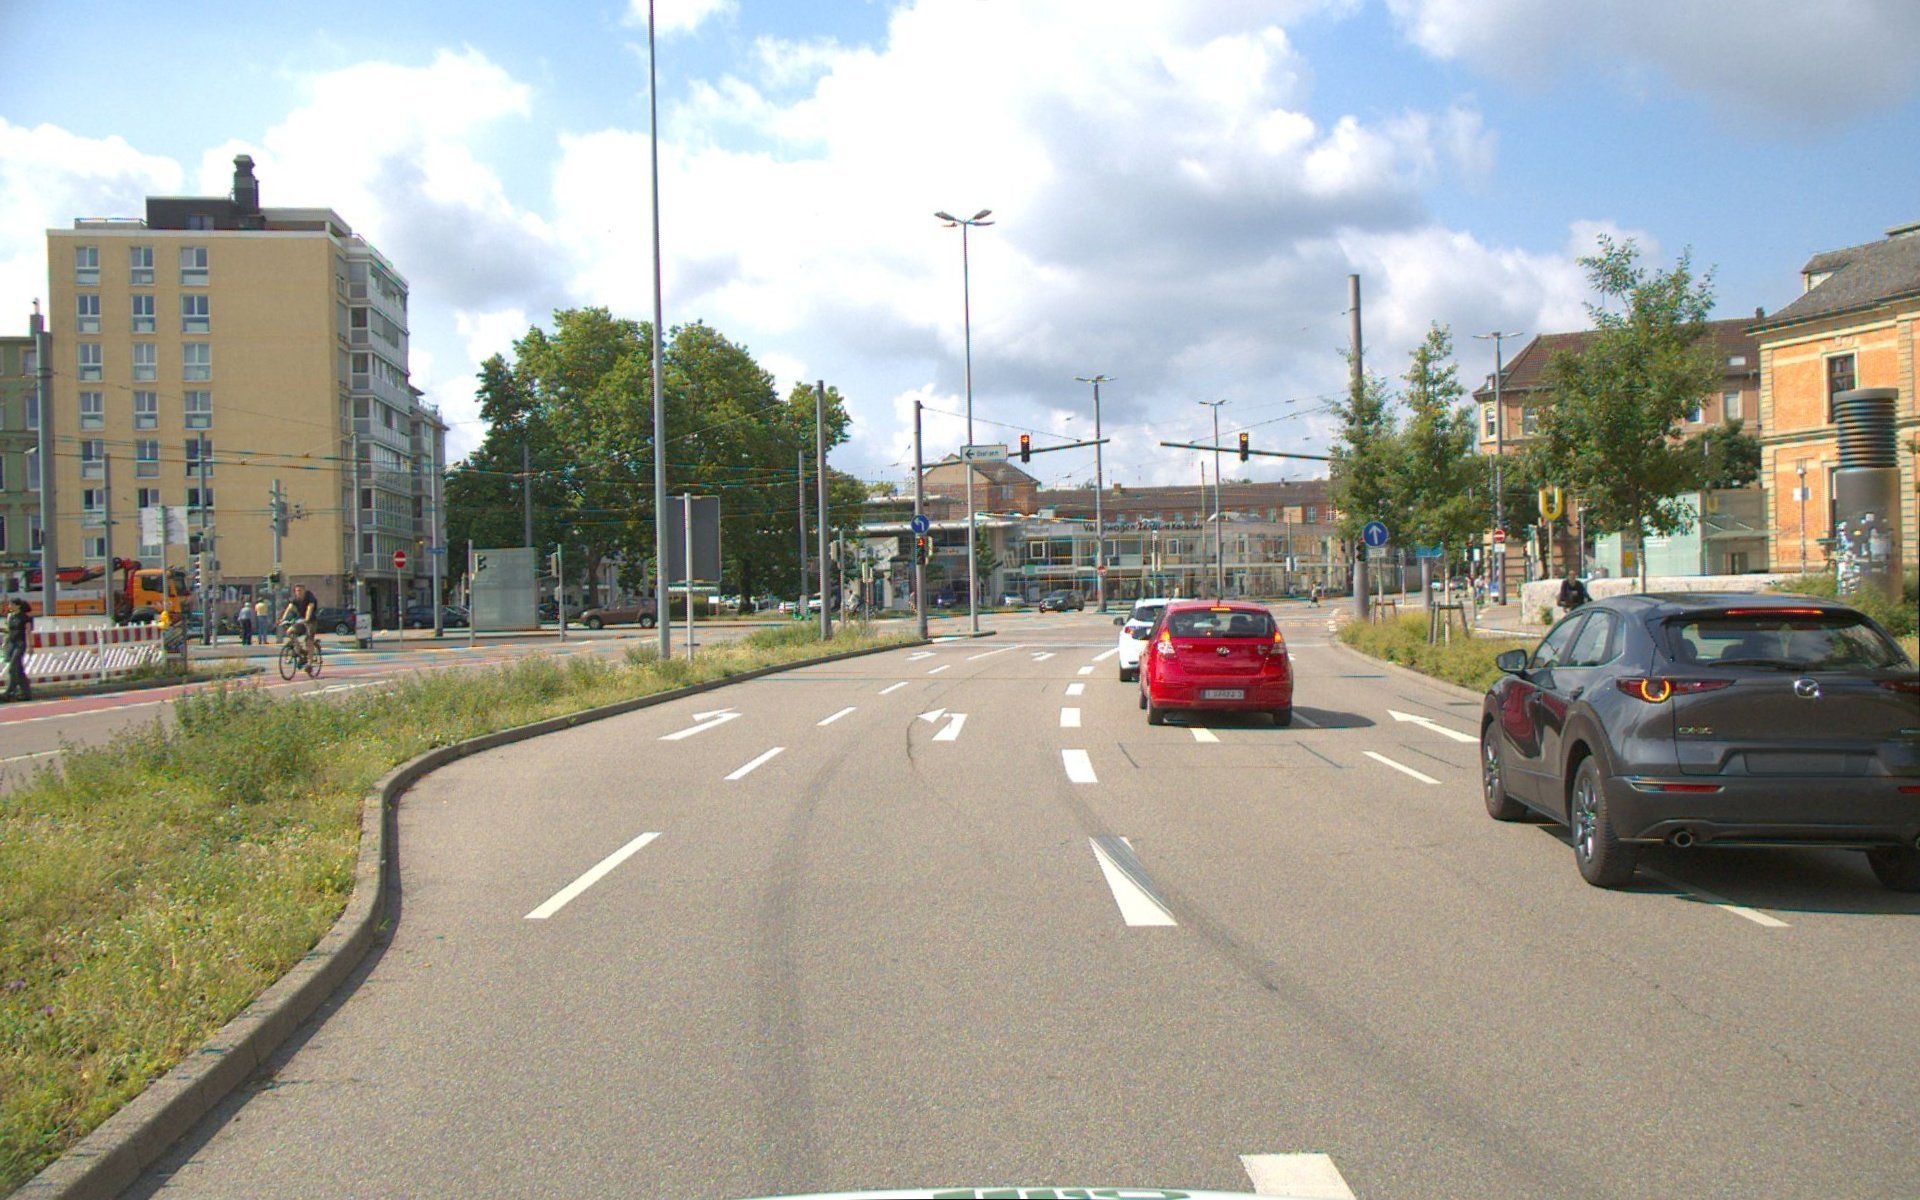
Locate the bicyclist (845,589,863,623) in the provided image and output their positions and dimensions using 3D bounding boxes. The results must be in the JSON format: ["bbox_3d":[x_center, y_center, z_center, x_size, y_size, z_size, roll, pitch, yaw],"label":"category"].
[{"bbox_3d":[-6.010,0.343,93.706,0.870,1.903,0.761,-1,0,-14],"label":"bicyclist"}]

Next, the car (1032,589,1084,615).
[{"bbox_3d":[6.419,0.129,108.250,1.955,1.557,3.996,-1,0,27],"label":"car"}]

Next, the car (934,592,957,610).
[{"bbox_3d":[-1.252,0.075,146.131,1.952,1.579,4.078,-1,0,1],"label":"car"}]

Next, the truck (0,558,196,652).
[{"bbox_3d":[-38.531,0.212,73.614,7.768,3.923,2.196,-2,0,-9],"label":"truck"}]

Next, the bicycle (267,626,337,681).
[{"bbox_3d":[-13.234,1.055,33.312,0.604,1.019,2.018,-1,0,-1],"label":"bicycle"}]

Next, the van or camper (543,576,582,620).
[{"bbox_3d":[-28.257,-0.137,117.431,2.538,2.959,6.075,-1,0,-15],"label":"van or camper"}]

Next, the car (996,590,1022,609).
[{"bbox_3d":[4.313,-0.074,146.621,1.954,1.624,3.997,-1,0,-4],"label":"car"}]

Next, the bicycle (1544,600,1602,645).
[{"bbox_3d":[11.966,0.432,32.336,0.611,0.825,1.790,-3,0,6],"label":"bicycle"}]

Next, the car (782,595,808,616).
[{"bbox_3d":[-14.874,0.506,149.183,1.760,1.800,4.001,-2,0,1],"label":"car"}]

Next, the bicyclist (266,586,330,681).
[{"bbox_3d":[-13.254,0.648,33.121,0.794,1.854,1.159,-1,0,-1],"label":"bicyclist"}]

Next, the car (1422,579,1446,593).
[{"bbox_3d":[52.851,-1.569,184.310,1.954,1.467,3.997,-1,0,25],"label":"car"}]

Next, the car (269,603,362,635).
[{"bbox_3d":[-32.294,0.942,82.965,3.992,1.534,1.810,1,0,-9],"label":"car"}]

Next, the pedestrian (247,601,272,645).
[{"bbox_3d":[-30.555,0.999,72.137,0.636,1.901,0.782,-1,0,8],"label":"pedestrian"}]

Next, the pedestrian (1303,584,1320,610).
[{"bbox_3d":[21.398,-0.157,100.707,0.667,1.562,0.667,-1,0,-32],"label":"pedestrian"}]

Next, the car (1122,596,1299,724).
[{"bbox_3d":[3.099,0.690,21.150,1.778,1.464,4.068,0,0,2],"label":"car"}]

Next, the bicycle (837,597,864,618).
[{"bbox_3d":[-6.187,0.442,93.672,1.440,1.136,0.585,-1,0,-15],"label":"bicycle"}]

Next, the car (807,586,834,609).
[{"bbox_3d":[-12.558,-0.214,149.231,1.952,2.049,4.001,-2,0,1],"label":"car"}]

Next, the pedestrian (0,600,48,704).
[{"bbox_3d":[-15.811,0.862,27.665,0.720,1.710,0.641,-1,0,3],"label":"pedestrian"}]

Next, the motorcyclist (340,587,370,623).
[{"bbox_3d":[-31.660,0.258,86.571,0.868,1.813,1.243,-1,0,12],"label":"motorcyclist"}]

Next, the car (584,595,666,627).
[{"bbox_3d":[-17.239,0.574,85.313,3.992,1.534,1.810,-1,0,-9],"label":"car"}]

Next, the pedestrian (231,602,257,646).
[{"bbox_3d":[-31.264,1.038,72.242,0.684,1.892,0.820,-1,0,7],"label":"pedestrian"}]

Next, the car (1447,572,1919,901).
[{"bbox_3d":[4.236,0.654,9.868,1.768,1.534,4.207,-1,0,5],"label":"car"}]

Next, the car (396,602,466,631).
[{"bbox_3d":[-32.642,1.025,102.172,3.918,1.691,1.994,-1,0,-13],"label":"car"}]

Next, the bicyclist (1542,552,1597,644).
[{"bbox_3d":[11.963,-0.039,32.489,0.720,1.732,0.966,-3,0,6],"label":"bicyclist"}]

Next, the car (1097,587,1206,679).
[{"bbox_3d":[3.439,0.552,30.263,1.809,1.498,4.338,-2,0,5],"label":"car"}]
